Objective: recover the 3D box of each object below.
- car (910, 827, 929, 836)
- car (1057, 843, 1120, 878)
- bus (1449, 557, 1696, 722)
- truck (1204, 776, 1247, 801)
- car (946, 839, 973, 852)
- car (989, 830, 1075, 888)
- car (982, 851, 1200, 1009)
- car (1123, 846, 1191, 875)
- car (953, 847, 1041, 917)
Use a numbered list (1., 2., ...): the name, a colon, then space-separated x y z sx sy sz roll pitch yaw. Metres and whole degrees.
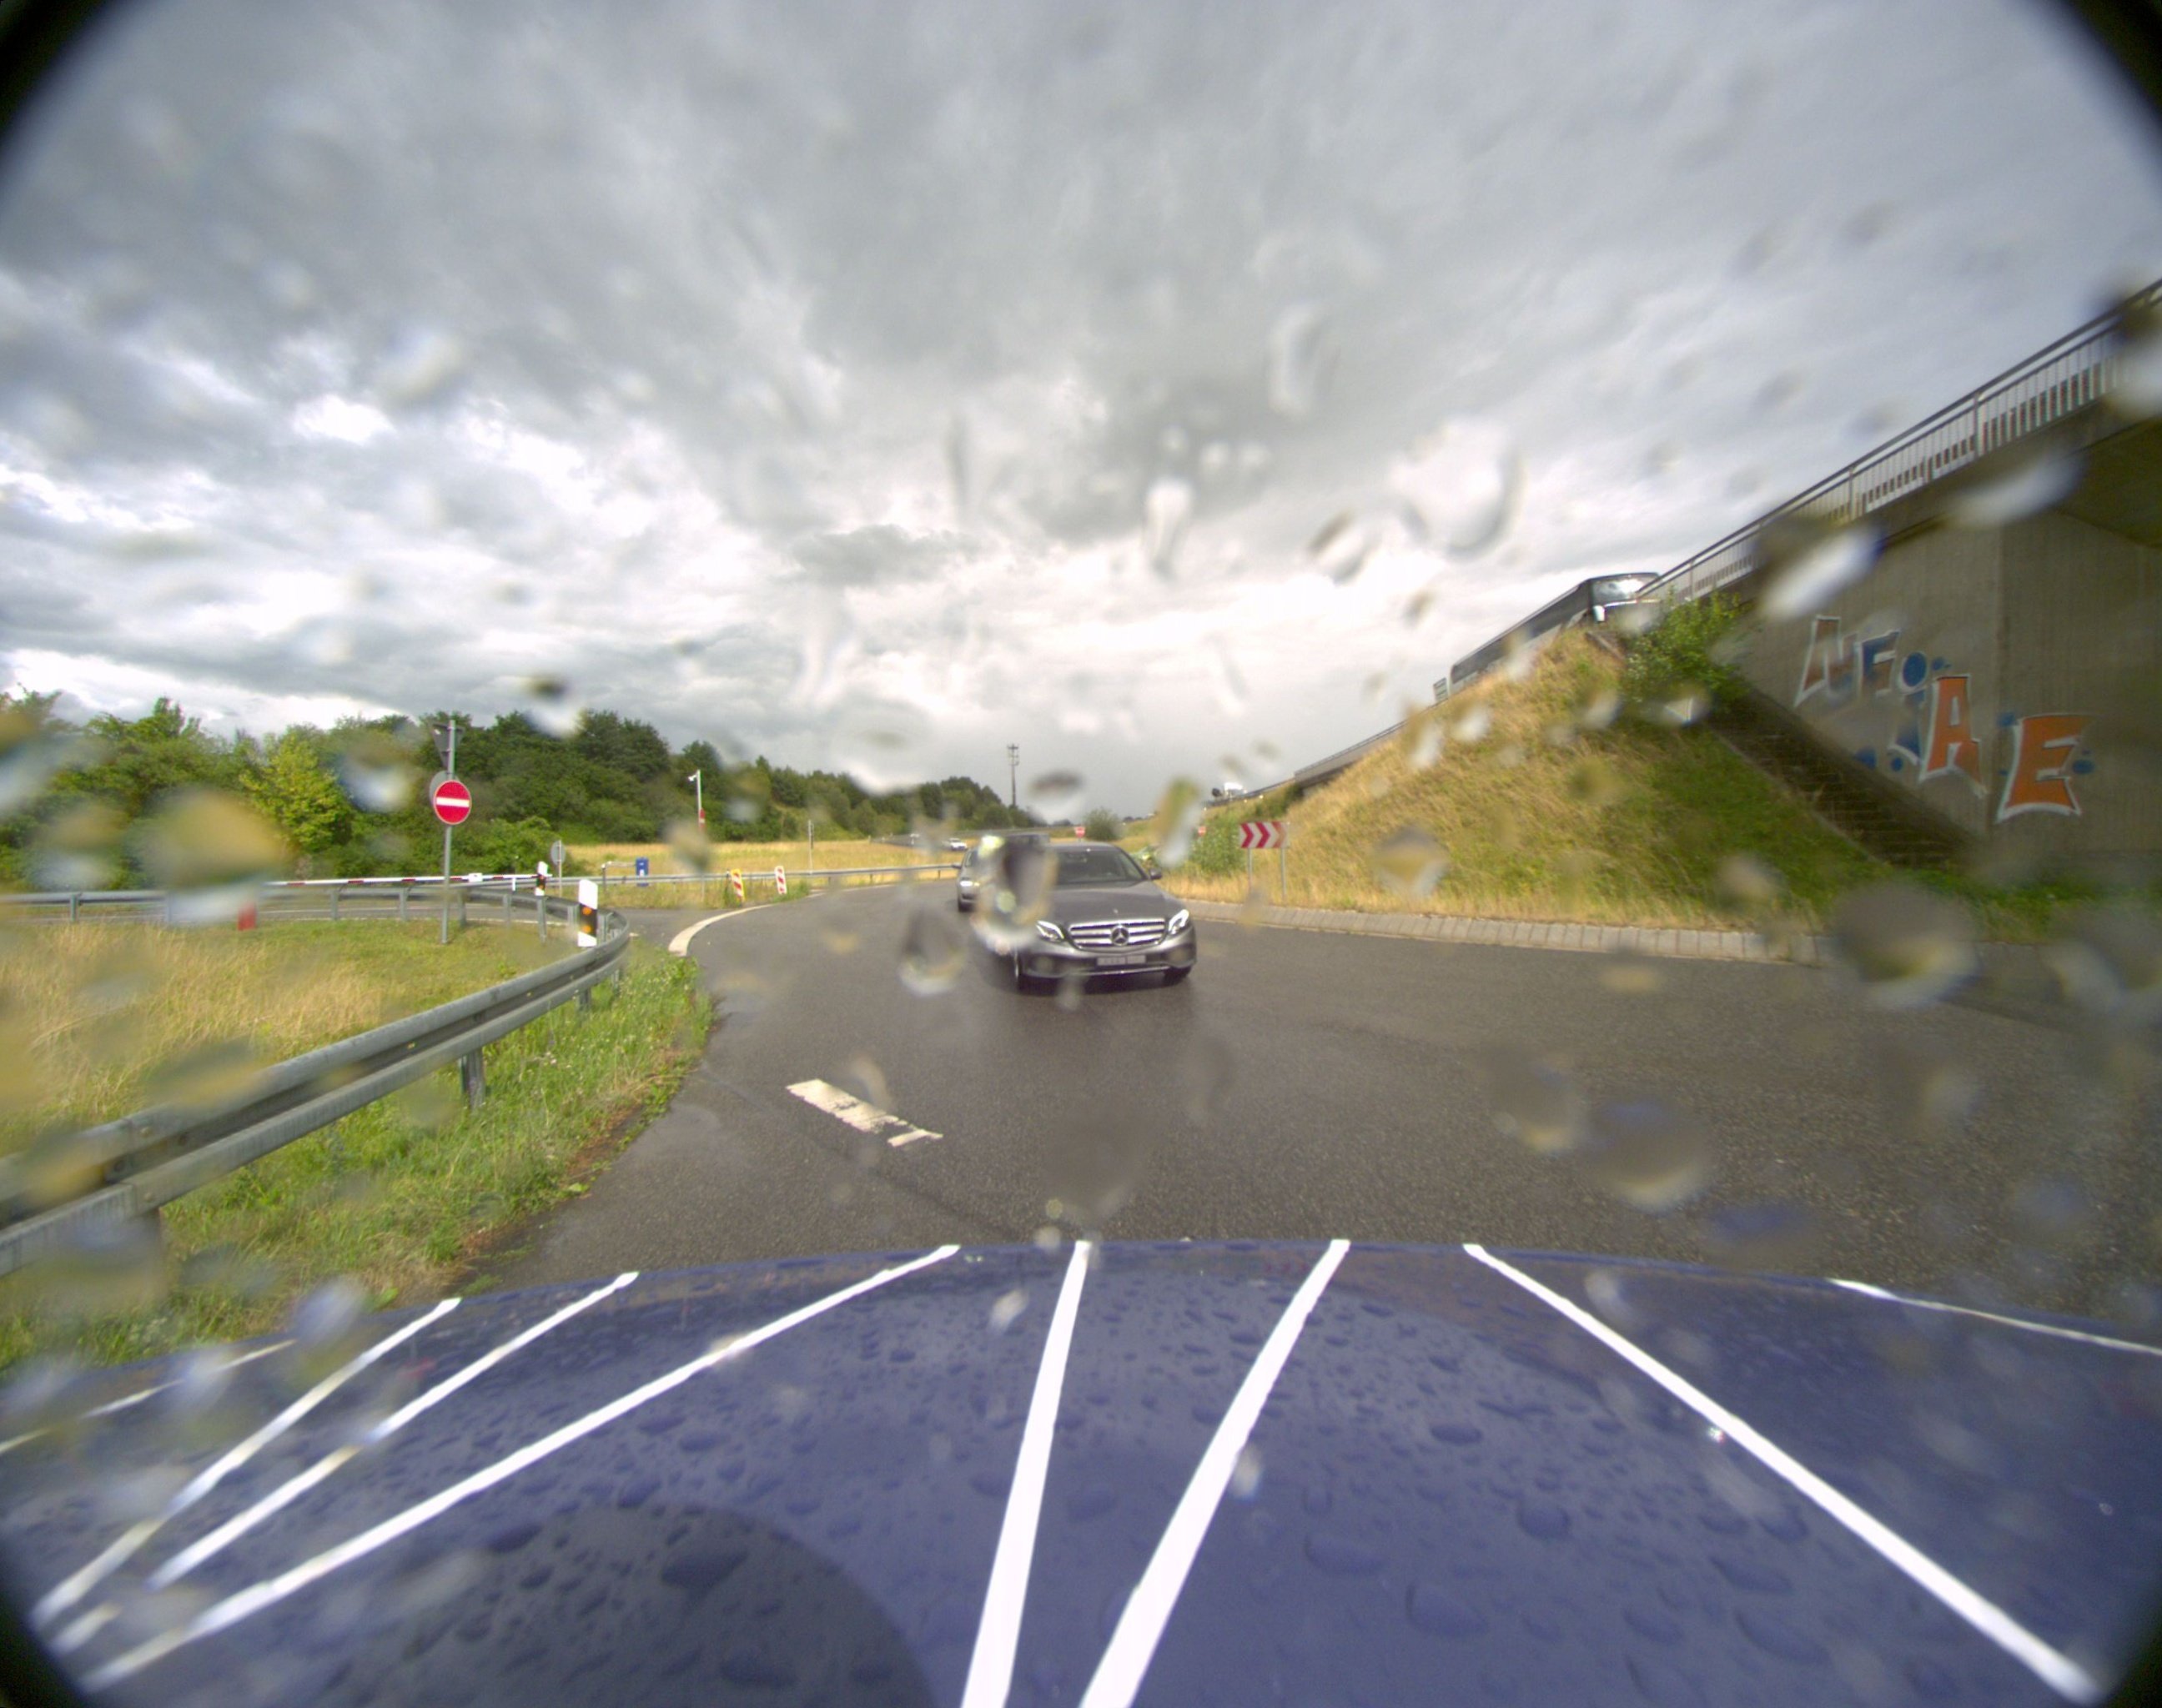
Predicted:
1. car: -32.633 -4.517 153.947 1.763 1.634 3.899 -2 2 22
2. car: 0.419 0.265 35.306 1.771 1.476 3.838 0 1 19
3. bus: 19.256 -8.112 31.596 2.610 3.062 14.467 -2 2 8
4. truck: 22.127 -9.994 116.948 3.161 3.176 9.268 -3 2 -11
5. car: -15.046 -1.048 93.683 1.980 1.528 3.919 -1 1 -30
6. car: -1.759 0.079 29.485 1.891 1.904 5.684 -2 2 11
7. car: -0.178 0.686 9.352 1.772 1.383 4.586 -2 1 -11
8. car: 4.315 0.340 42.790 3.936 1.528 1.568 -1 1 -42
9. car: -2.094 0.563 17.935 1.798 1.390 4.344 0 1 -10
